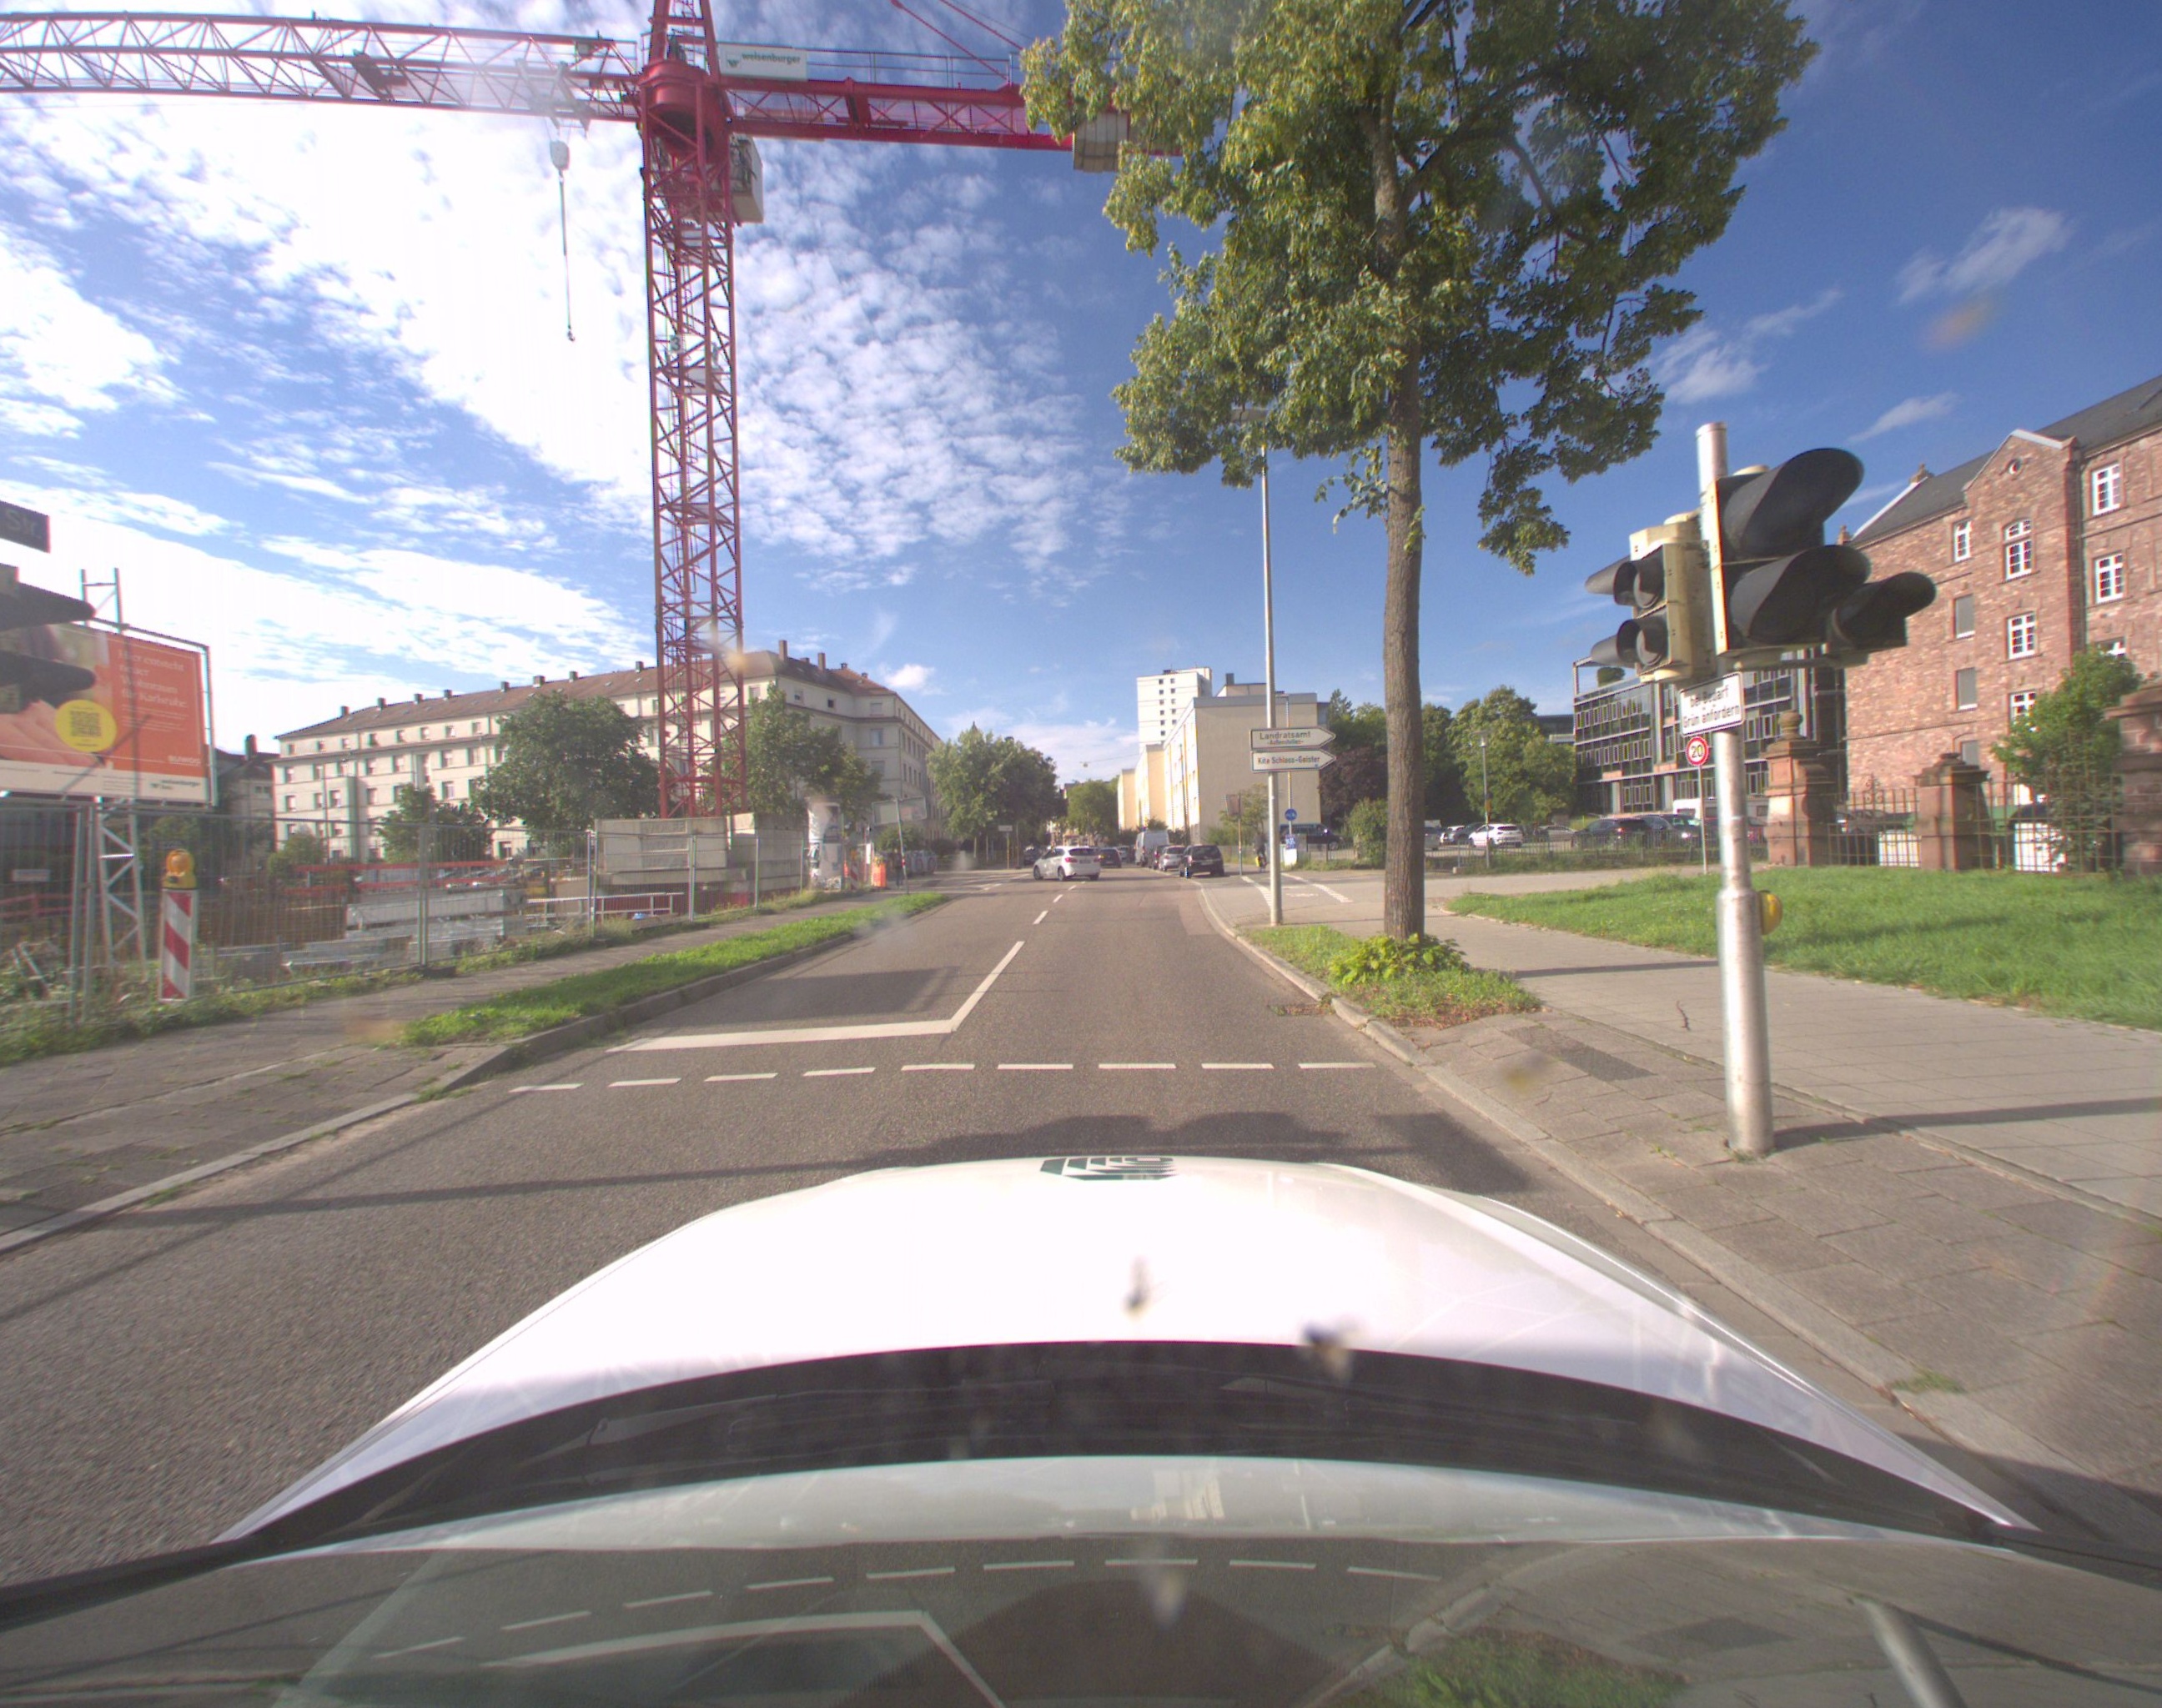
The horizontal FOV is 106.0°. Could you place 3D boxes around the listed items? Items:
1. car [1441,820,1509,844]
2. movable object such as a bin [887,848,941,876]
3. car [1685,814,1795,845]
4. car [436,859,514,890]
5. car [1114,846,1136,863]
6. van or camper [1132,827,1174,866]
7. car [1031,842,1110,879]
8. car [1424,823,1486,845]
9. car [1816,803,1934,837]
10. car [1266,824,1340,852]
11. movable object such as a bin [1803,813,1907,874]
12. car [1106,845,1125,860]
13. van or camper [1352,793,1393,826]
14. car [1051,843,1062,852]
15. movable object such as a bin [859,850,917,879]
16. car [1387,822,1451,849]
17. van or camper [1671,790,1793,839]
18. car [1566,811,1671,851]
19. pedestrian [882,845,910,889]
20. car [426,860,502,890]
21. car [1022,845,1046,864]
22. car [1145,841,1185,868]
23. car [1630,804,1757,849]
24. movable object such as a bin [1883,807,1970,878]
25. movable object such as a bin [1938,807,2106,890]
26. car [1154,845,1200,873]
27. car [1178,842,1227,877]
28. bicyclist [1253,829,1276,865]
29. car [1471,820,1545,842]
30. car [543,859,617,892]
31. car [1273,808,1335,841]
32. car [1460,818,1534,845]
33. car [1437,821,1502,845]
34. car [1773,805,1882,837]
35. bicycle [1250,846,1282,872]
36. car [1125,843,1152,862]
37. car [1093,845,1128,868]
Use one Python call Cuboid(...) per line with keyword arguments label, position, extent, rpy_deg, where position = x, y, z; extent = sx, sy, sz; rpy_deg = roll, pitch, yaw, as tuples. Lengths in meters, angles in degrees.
Cuboid(label="car", position=(28.862, -1.590, 59.775), extent=(3.974, 1.486, 2.000), rpy_deg=(-3, 0, 0))
Cuboid(label="movable object such as a bin", position=(-10.892, 0.530, 53.218), extent=(3.081, 1.708, 1.416), rpy_deg=(-1, 0, 14))
Cuboid(label="car", position=(30.276, -1.134, 37.571), extent=(1.706, 1.265, 3.954), rpy_deg=(-4, 2, -4))
Cuboid(label="car", position=(-42.571, 1.413, 57.350), extent=(1.980, 2.013, 4.014), rpy_deg=(-1, 0, 13))
Cuboid(label="car", position=(4.359, 0.063, 81.481), extent=(1.987, 1.574, 4.000), rpy_deg=(-3, 1, 0))
Cuboid(label="van or camper", position=(5.234, -0.570, 60.076), extent=(2.204, 2.607, 5.366), rpy_deg=(-3, 1, -3))
Cuboid(label="car", position=(-0.554, 0.305, 37.352), extent=(2.004, 1.555, 4.237), rpy_deg=(-1, 0, -26))
Cuboid(label="car", position=(29.817, -1.582, 64.982), extent=(3.974, 1.552, 2.000), rpy_deg=(-3, 0, 0))
Cuboid(label="car", position=(40.100, -1.720, 41.188), extent=(3.973, 1.442, 2.001), rpy_deg=(-3, 0, 1))
Cuboid(label="car", position=(14.991, -1.082, 55.167), extent=(4.428, 1.621, 2.003), rpy_deg=(-3, 0, 4))
Cuboid(label="movable object such as a bin", position=(16.653, -0.231, 17.549), extent=(1.187, 1.231, 1.092), rpy_deg=(-2, 0, -3))
Cuboid(label="car", position=(3.931, -0.187, 93.958), extent=(1.987, 1.574, 4.000), rpy_deg=(-3, 1, 0))
Cuboid(label="van or camper", position=(29.099, -4.380, 81.412), extent=(2.319, 2.874, 5.126), rpy_deg=(-6, 0, 3))
Cuboid(label="car", position=(-4.891, -1.281, 162.230), extent=(2.053, 1.663, 3.919), rpy_deg=(-3, 1, -5))
Cuboid(label="movable object such as a bin", position=(-11.983, 0.642, 50.625), extent=(3.080, 1.708, 1.554), rpy_deg=(-1, 0, 15))
Cuboid(label="car", position=(20.189, -1.078, 48.819), extent=(1.988, 1.442, 3.997), rpy_deg=(-3, 1, -2))
Cuboid(label="van or camper", position=(39.074, -2.332, 48.960), extent=(5.224, 2.556, 2.595), rpy_deg=(-3, 0, -1))
Cuboid(label="car", position=(24.523, -0.995, 37.410), extent=(1.843, 1.589, 4.609), rpy_deg=(-4, 0, 2))
Cuboid(label="pedestrian", position=(-7.655, 0.540, 33.732), extent=(1.007, 1.728, 1.174), rpy_deg=(-2, -1, -11))
Cuboid(label="car", position=(-44.632, 1.459, 58.997), extent=(1.980, 2.013, 4.014), rpy_deg=(-1, 0, 13))
Cuboid(label="car", position=(-4.424, 0.069, 76.509), extent=(1.991, 1.640, 3.993), rpy_deg=(-3, 1, -5))
Cuboid(label="car", position=(5.513, -0.018, 54.041), extent=(1.988, 1.615, 4.404), rpy_deg=(-3, 1, -2))
Cuboid(label="car", position=(27.449, -1.175, 36.758), extent=(1.846, 1.743, 4.796), rpy_deg=(-4, 0, -3))
Cuboid(label="movable object such as a bin", position=(17.798, -0.241, 17.162), extent=(0.828, 1.423, 0.941), rpy_deg=(-2, 0, -2))
Cuboid(label="movable object such as a bin", position=(17.884, -0.107, 15.546), extent=(1.410, 1.459, 1.543), rpy_deg=(-2, 0, -3))
Cuboid(label="car", position=(5.686, 0.305, 48.707), extent=(2.010, 1.475, 4.799), rpy_deg=(-4, 0, -1))
Cuboid(label="car", position=(5.497, 0.241, 37.342), extent=(1.711, 1.496, 4.270), rpy_deg=(-1, 0, 2))
Cuboid(label="bicyclist", position=(8.076, -0.302, 35.836), extent=(0.735, 1.513, 0.874), rpy_deg=(-5, 0, 0))
Cuboid(label="car", position=(28.689, -1.527, 54.850), extent=(3.967, 1.310, 2.003), rpy_deg=(-1, 0, 6))
Cuboid(label="car", position=(-34.736, 1.466, 56.568), extent=(1.978, 2.013, 4.018), rpy_deg=(-3, 1, 16))
Cuboid(label="car", position=(16.795, -2.223, 61.401), extent=(4.101, 2.186, 2.003), rpy_deg=(-3, 0, 4))
Cuboid(label="car", position=(24.735, -1.300, 48.584), extent=(1.991, 1.442, 3.992), rpy_deg=(-3, 1, -6))
Cuboid(label="car", position=(29.712, -1.597, 62.339), extent=(3.974, 1.596, 2.000), rpy_deg=(-3, 0, 0))
Cuboid(label="car", position=(40.100, -1.780, 43.817), extent=(3.973, 1.442, 2.001), rpy_deg=(-3, 0, 1))
Cuboid(label="bicycle", position=(8.117, 0.210, 35.906), extent=(0.737, 1.034, 2.762), rpy_deg=(-5, 0, 1))
Cuboid(label="car", position=(4.972, -0.150, 71.012), extent=(1.987, 1.574, 4.000), rpy_deg=(-3, 1, 0))
Cuboid(label="car", position=(2.106, 0.168, 58.602), extent=(1.991, 1.570, 3.992), rpy_deg=(-2, 0, -6))
